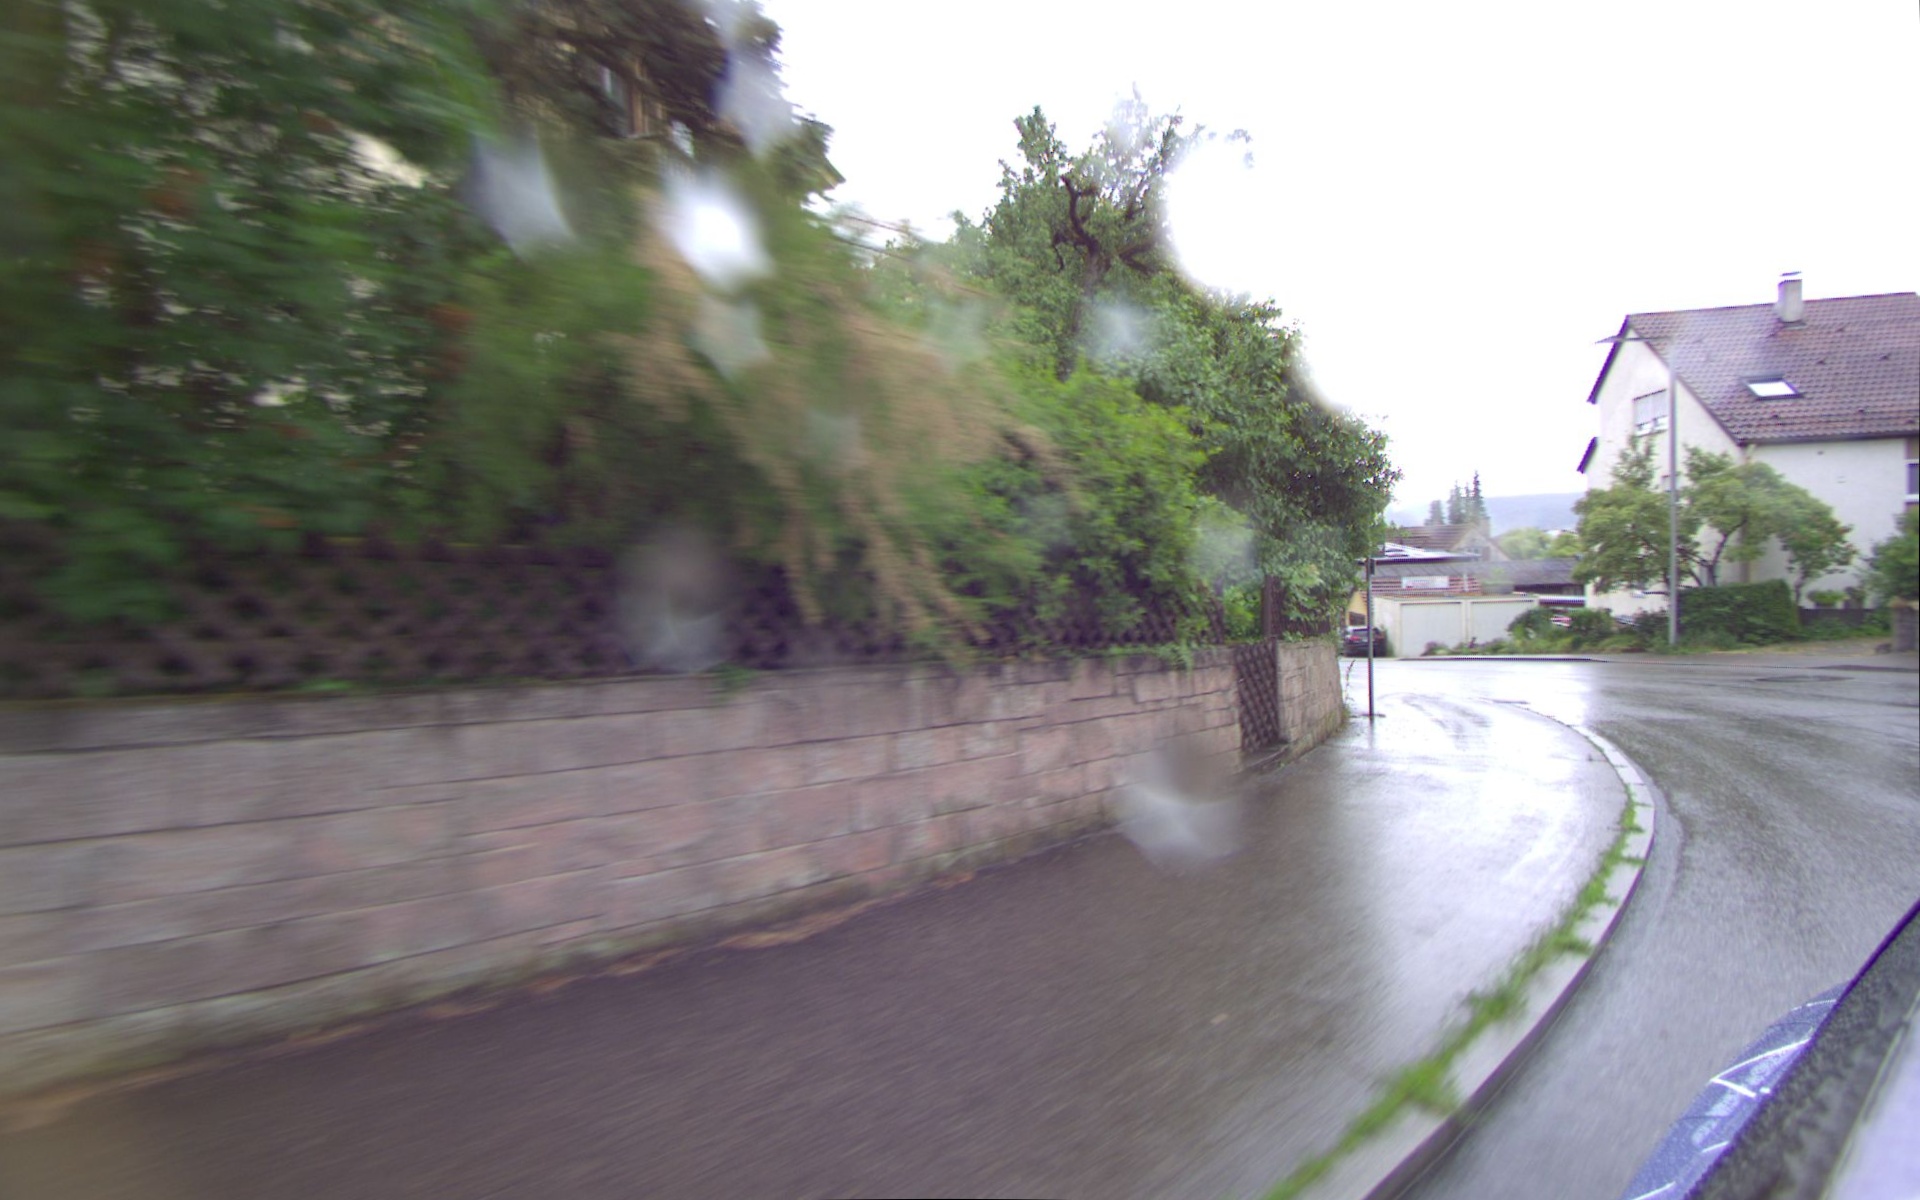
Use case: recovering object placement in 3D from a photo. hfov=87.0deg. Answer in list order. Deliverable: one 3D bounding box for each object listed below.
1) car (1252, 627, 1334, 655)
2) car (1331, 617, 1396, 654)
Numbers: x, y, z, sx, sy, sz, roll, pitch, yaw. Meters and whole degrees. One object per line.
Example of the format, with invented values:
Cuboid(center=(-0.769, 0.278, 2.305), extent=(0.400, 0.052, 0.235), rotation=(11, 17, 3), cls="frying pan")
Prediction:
Cuboid(center=(20.196, 2.494, 61.516), extent=(4.439, 1.525, 1.894), rotation=(-2, -3, 11), cls="car")
Cuboid(center=(19.586, 1.746, 49.319), extent=(1.949, 1.681, 4.944), rotation=(-2, -3, 11), cls="car")
